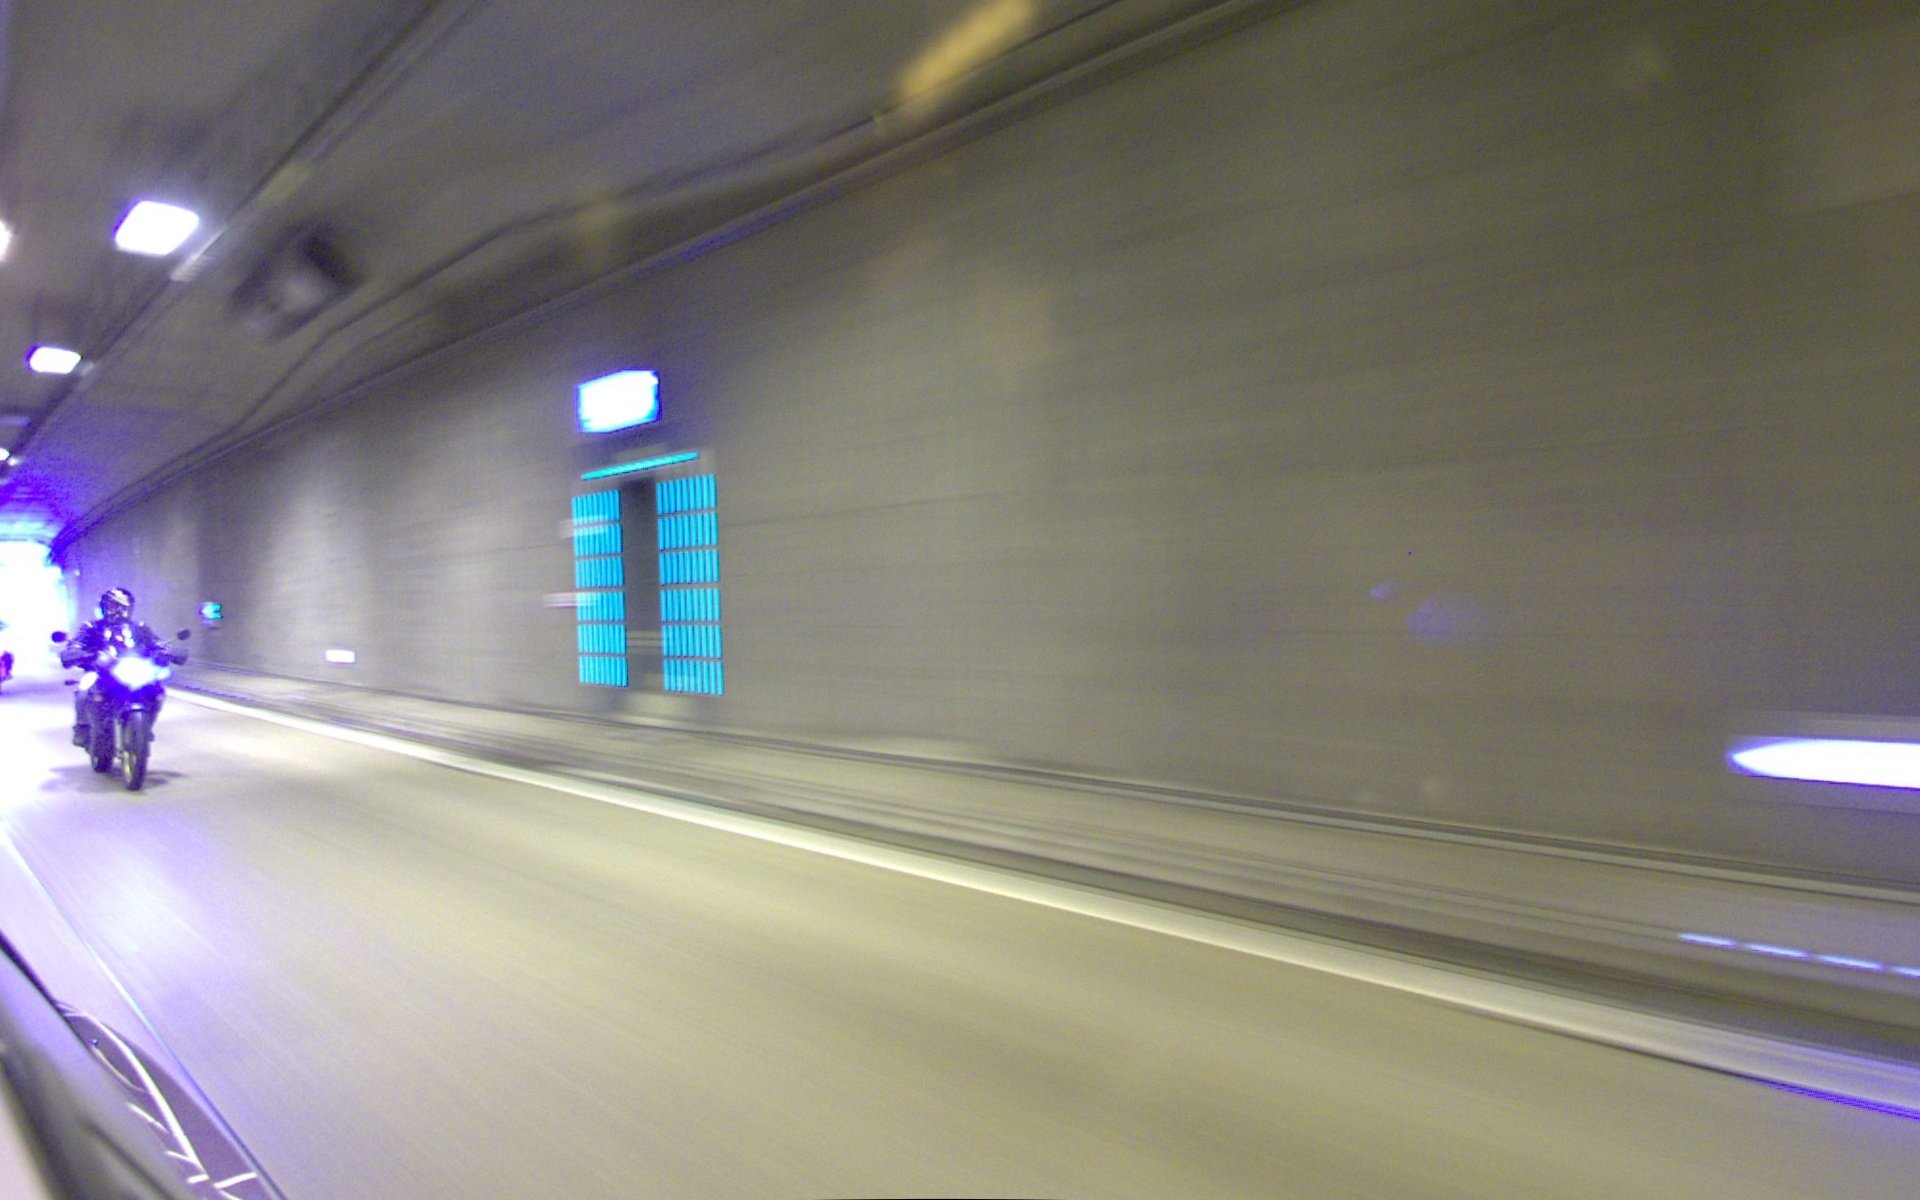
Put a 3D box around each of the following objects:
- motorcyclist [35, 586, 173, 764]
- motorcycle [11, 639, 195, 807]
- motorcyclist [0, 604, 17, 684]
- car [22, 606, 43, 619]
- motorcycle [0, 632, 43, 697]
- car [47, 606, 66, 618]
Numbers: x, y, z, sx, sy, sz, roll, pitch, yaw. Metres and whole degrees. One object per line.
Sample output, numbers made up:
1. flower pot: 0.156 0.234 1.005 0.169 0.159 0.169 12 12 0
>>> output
1. motorcyclist: -7.663 0.634 9.064 0.821 1.488 0.830 -2 -1 40
2. motorcycle: -7.685 0.997 9.017 2.602 1.255 0.837 -1 -1 40
3. motorcyclist: -18.573 0.842 19.372 0.889 1.500 0.621 -1 -1 37
4. car: -131.653 1.746 143.602 1.968 1.812 4.007 -1 0 -40
5. motorcycle: -18.513 1.216 19.335 2.424 1.166 1.043 -1 -1 37
6. car: -141.902 1.818 158.921 1.968 1.812 4.007 -1 0 -39
